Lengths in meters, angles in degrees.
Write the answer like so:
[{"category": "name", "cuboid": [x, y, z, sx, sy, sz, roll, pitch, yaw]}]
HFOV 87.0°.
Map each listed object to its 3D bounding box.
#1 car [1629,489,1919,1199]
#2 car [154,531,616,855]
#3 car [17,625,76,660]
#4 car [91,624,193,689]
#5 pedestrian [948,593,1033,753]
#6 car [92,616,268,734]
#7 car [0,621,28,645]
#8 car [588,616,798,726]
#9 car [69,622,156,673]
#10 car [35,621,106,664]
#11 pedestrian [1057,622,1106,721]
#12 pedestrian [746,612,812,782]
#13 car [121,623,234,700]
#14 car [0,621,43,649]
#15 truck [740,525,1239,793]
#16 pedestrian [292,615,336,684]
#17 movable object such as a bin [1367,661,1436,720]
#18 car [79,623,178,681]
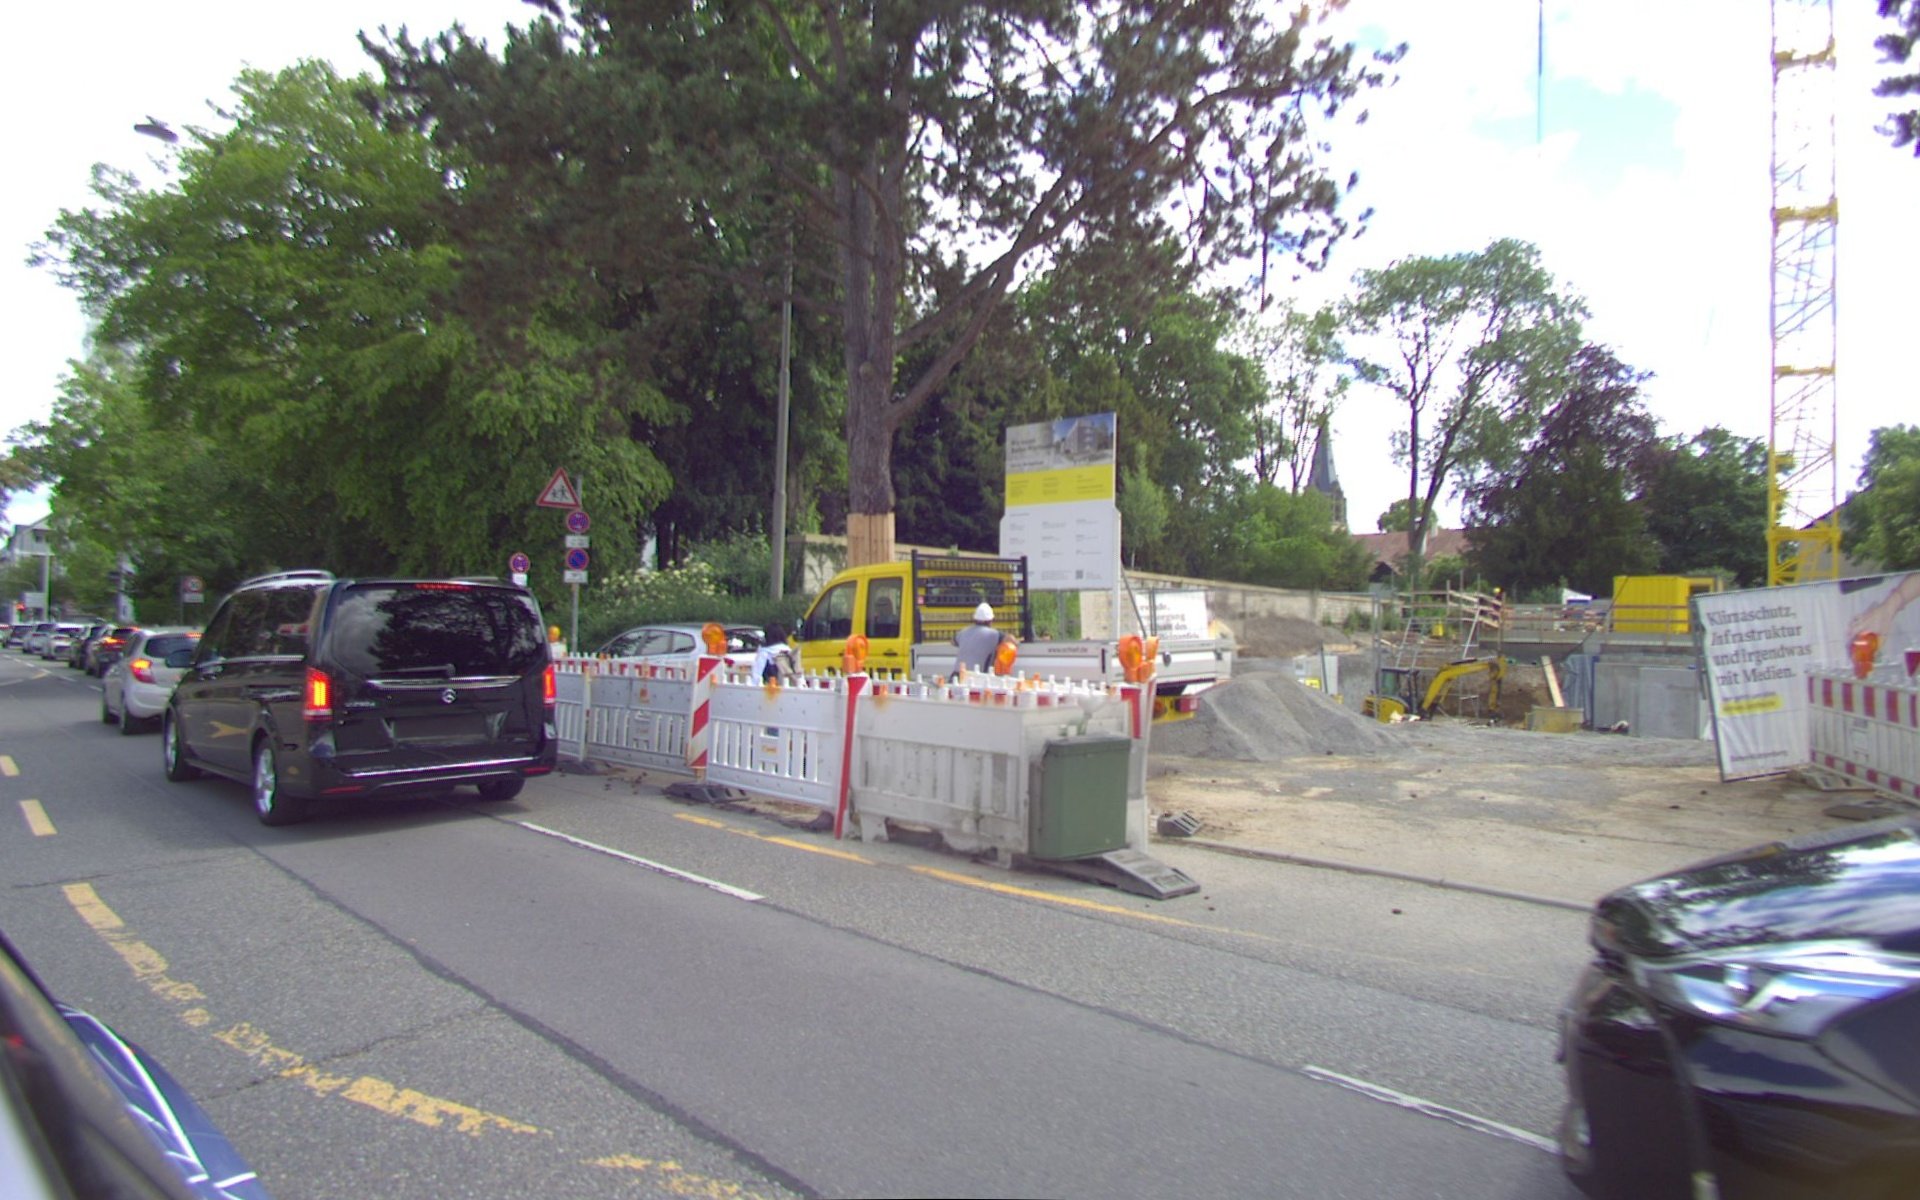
[{"category": "car", "cuboid": [3.570, 0.593, 1.163, 4.523, 1.539, 1.847, -1, -3, 39]}, {"category": "car", "cuboid": [-5.048, 0.658, 8.527, 4.912, 1.967, 1.888, -2, -4, 42]}, {"category": "car", "cuboid": [-46.102, 2.109, 51.044, 4.163, 1.603, 1.737, 0, -4, 43]}, {"category": "car", "cuboid": [-20.865, 1.413, 25.766, 1.596, 1.535, 3.572, 4, -4, -45]}, {"category": "pedestrian", "cuboid": [0.310, 0.718, 10.300, 0.654, 1.559, 0.568, 0, -1, 38]}, {"category": "car", "cuboid": [-11.598, 1.065, 14.972, 1.596, 1.535, 3.572, 3, -4, -44]}, {"category": "car", "cuboid": [-70.606, 2.443, 75.216, 4.163, 1.603, 1.597, 0, -4, 43]}, {"category": "car", "cuboid": [-4.260, 1.026, 15.875, 3.584, 1.519, 1.605, -1, -2, 44]}, {"category": "car", "cuboid": [-28.768, 1.586, 34.321, 3.970, 1.603, 1.737, 0, -3, 43]}, {"category": "car", "cuboid": [-37.019, 1.756, 42.074, 4.004, 1.603, 1.738, 0, -4, 43]}, {"category": "pedestrian", "cuboid": [1.758, 1.022, 14.655, 0.566, 1.396, 0.540, 0, -1, -10]}, {"category": "pedestrian", "cuboid": [-1.762, 0.922, 9.900, 0.563, 1.613, 0.537, 0, -1, -2]}, {"category": "car", "cuboid": [-17.416, 1.294, 22.587, 1.795, 1.535, 4.570, 2, -2, -37]}, {"category": "car", "cuboid": [-58.369, 2.170, 62.770, 4.163, 1.603, 1.737, 0, -4, 43]}, {"category": "truck", "cuboid": [0.035, 0.560, 12.164, 6.096, 2.438, 2.280, 0, -1, 45]}, {"category": "pedestrian", "cuboid": [-17.859, 1.341, 27.980, 0.823, 1.861, 1.023, 1, -1, -44]}, {"category": "movable object such as a bin", "cuboid": [14.916, 3.006, 34.170, 1.654, 1.796, 1.973, 0, -1, 41]}, {"category": "car", "cuboid": [-24.603, 1.519, 29.898, 4.003, 1.568, 1.756, -1, -4, 44]}]
